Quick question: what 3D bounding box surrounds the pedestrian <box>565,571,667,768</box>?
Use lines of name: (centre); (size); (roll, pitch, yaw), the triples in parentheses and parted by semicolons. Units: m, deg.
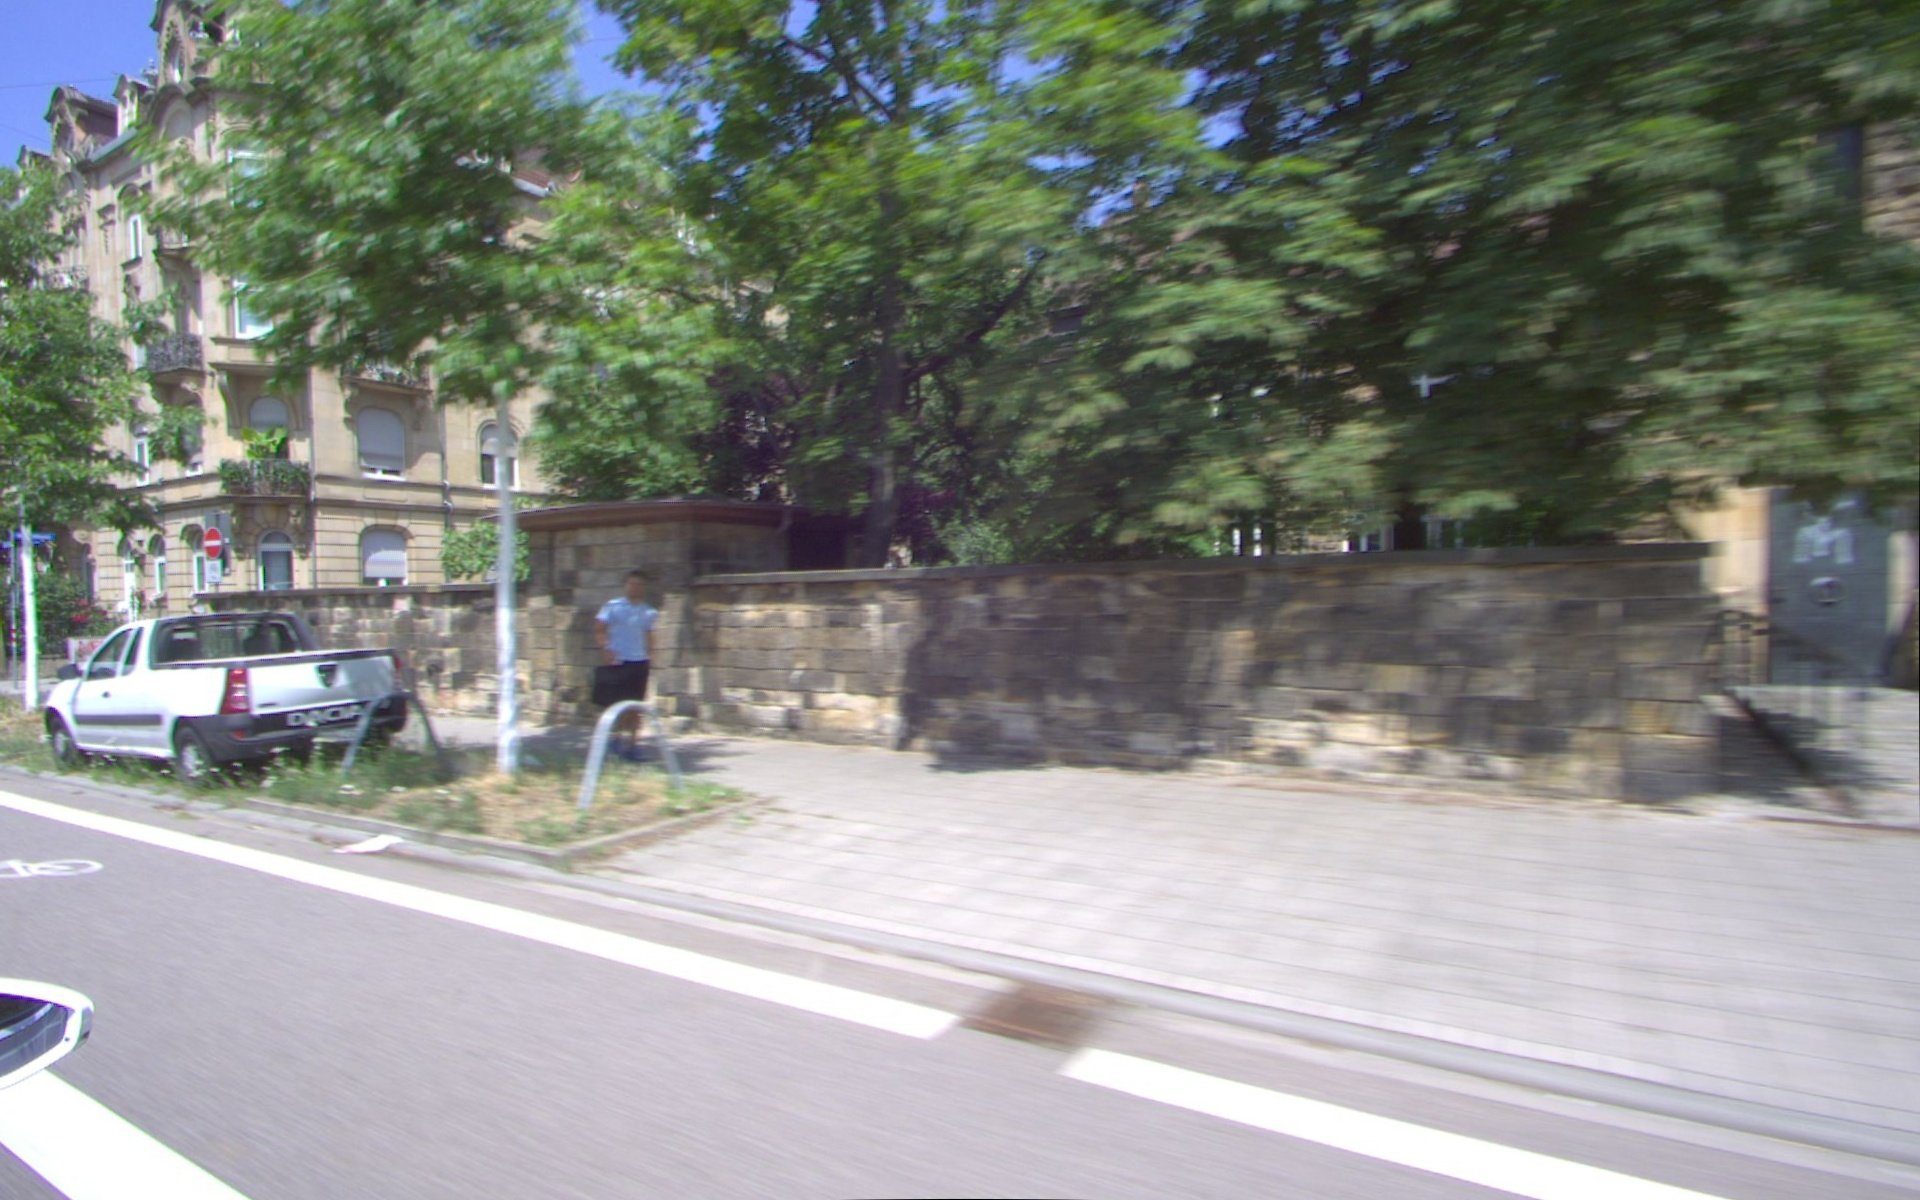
pedestrian: (-3.246, 0.628, 9.459); (0.669, 1.778, 0.619); (0, 1, 33)

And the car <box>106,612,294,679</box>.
car: (-19.054, 1.080, 25.227); (1.533, 1.511, 3.443); (0, 0, 33)

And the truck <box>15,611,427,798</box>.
truck: (-7.607, 0.896, 10.220); (4.398, 1.546, 1.787); (0, 0, 30)
